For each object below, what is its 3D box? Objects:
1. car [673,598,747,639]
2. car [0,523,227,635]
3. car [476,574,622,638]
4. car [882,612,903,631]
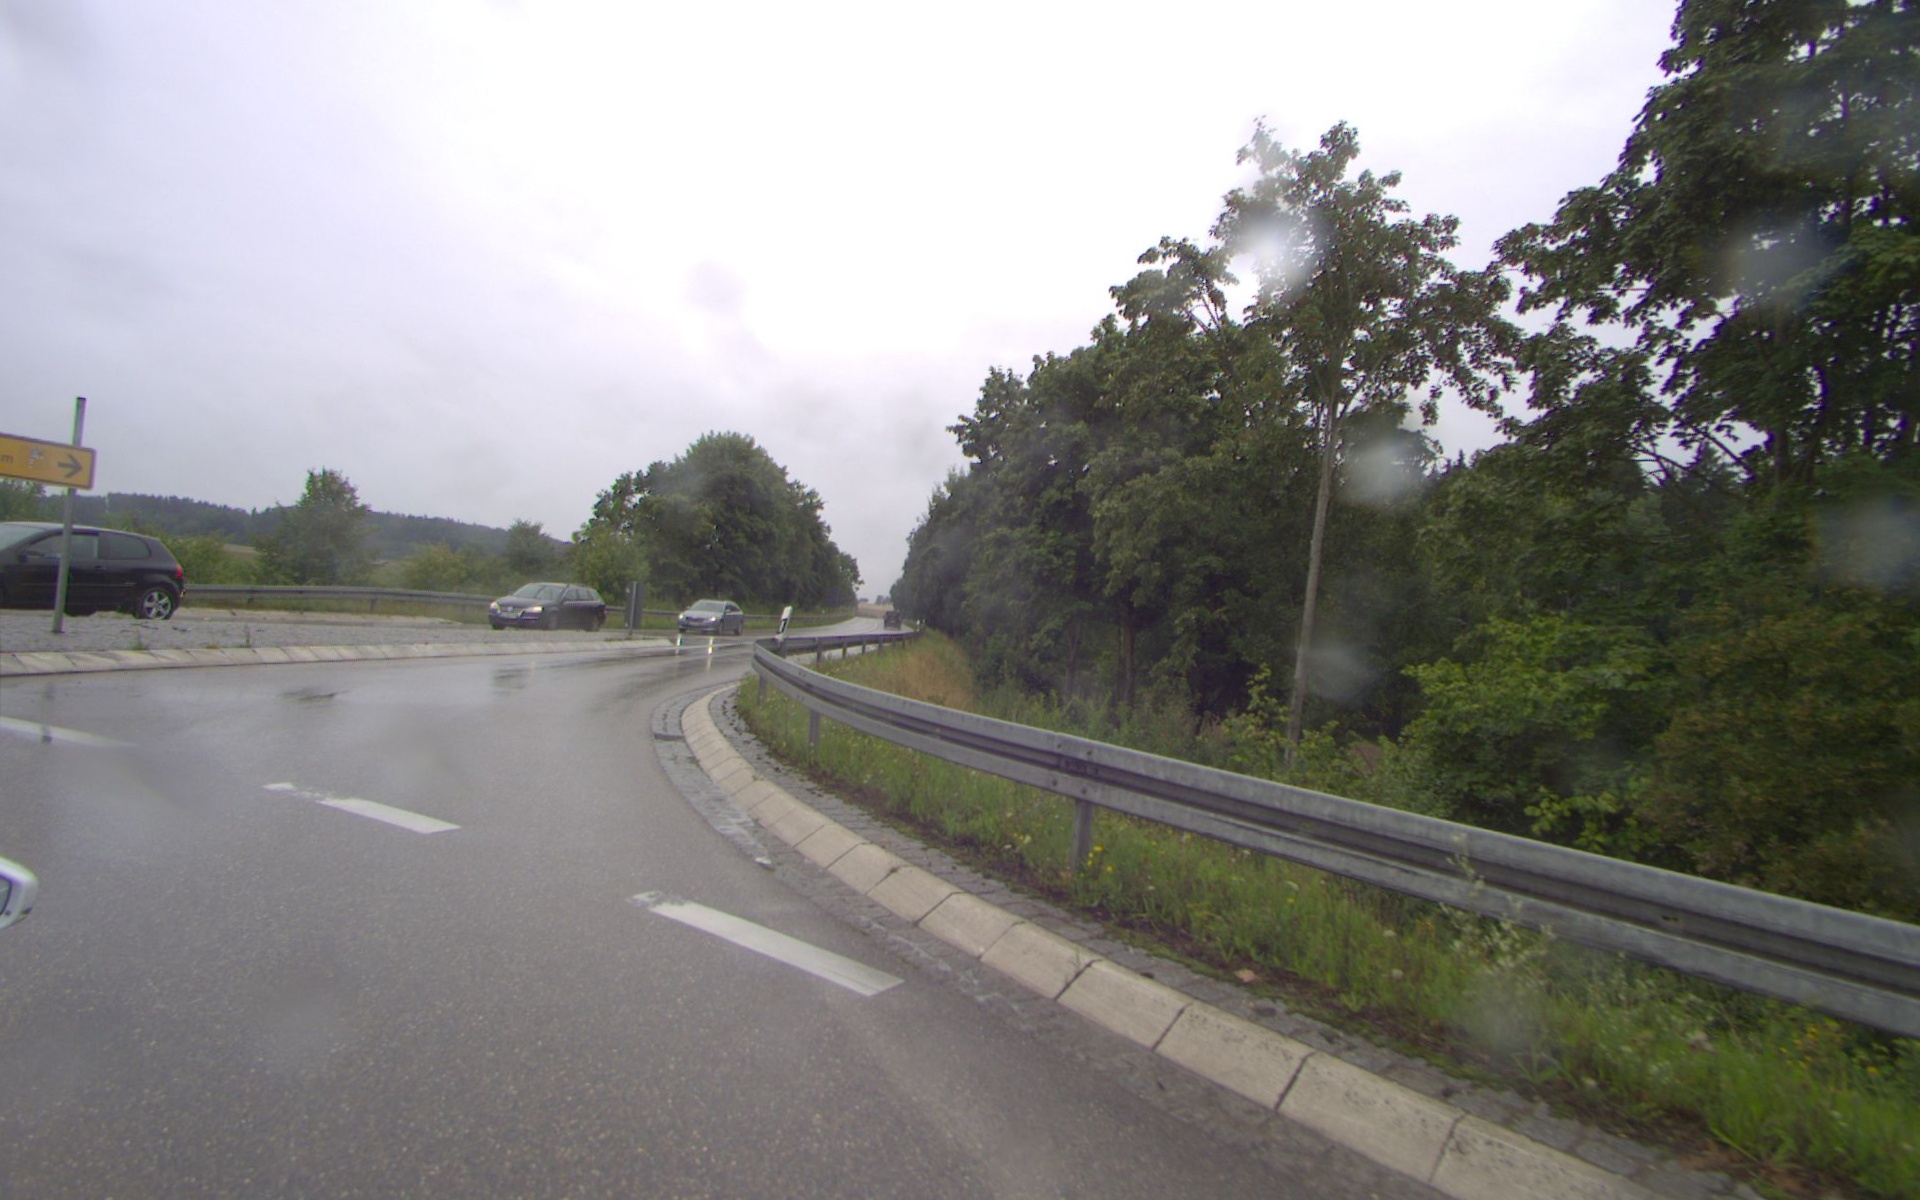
[{"bbox_3d":[-10.748,0.847,43.592,1.731,1.437,4.509,7,-2,3],"label":"car"},{"bbox_3d":[-14.030,-0.366,15.294,1.838,1.437,4.510,7,-2,11],"label":"car"},{"bbox_3d":[-11.800,0.241,29.271,1.913,1.387,4.510,7,-2,6],"label":"car"},{"bbox_3d":[-7.147,2.279,106.564,1.965,1.595,3.994,6,1,-6],"label":"car"}]
